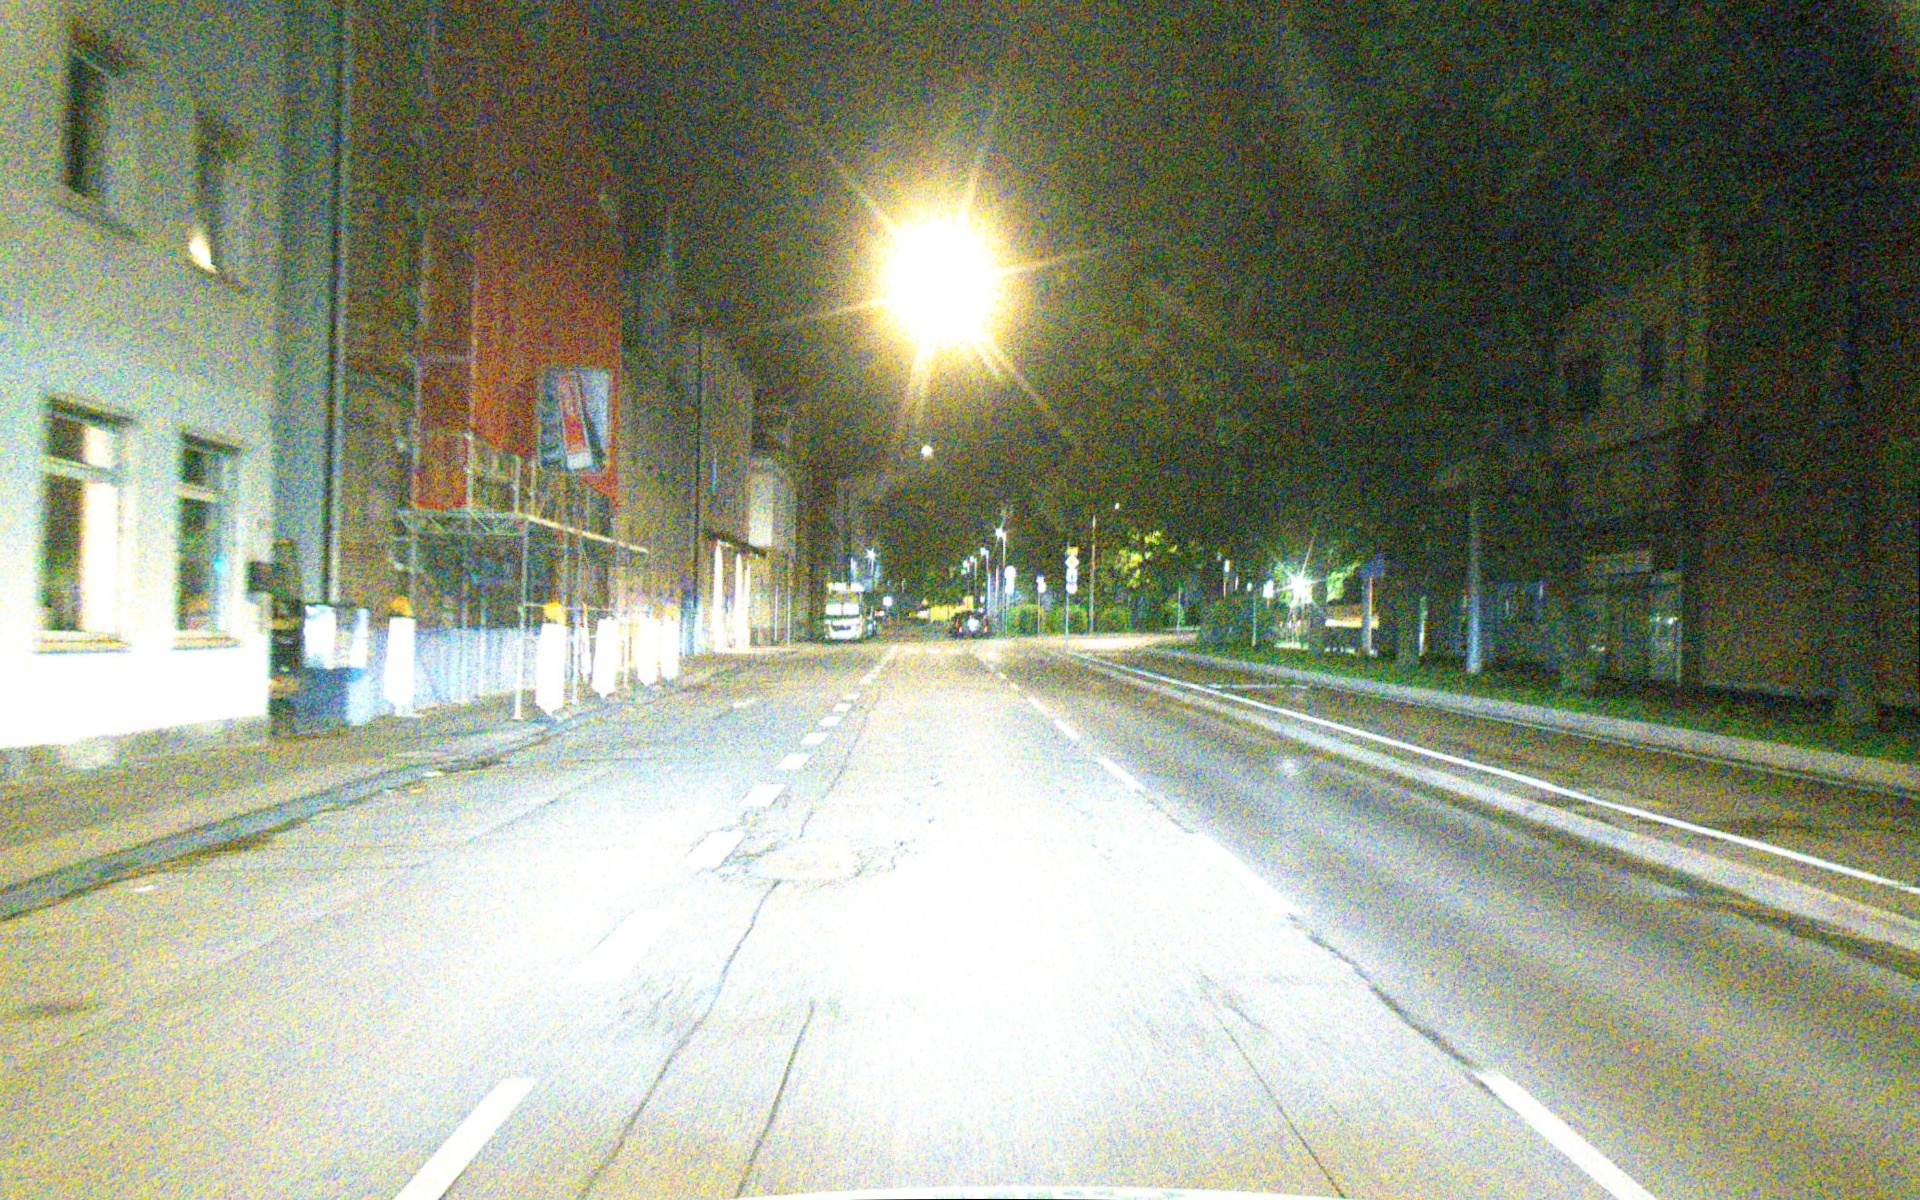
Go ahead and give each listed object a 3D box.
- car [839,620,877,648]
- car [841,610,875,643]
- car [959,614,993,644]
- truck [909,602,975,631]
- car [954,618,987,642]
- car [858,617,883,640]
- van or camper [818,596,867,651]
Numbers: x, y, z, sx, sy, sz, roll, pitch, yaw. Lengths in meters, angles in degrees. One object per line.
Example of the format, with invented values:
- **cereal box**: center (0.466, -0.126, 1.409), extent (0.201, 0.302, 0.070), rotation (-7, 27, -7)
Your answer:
- **car**: center (-5.817, 1.913, 93.909), extent (1.804, 1.534, 4.733), rotation (0, -1, -8)
- **car**: center (-6.371, 1.661, 103.893), extent (1.953, 1.989, 4.804), rotation (0, -1, -1)
- **car**: center (0.914, 1.653, 93.613), extent (1.845, 1.631, 4.107), rotation (-1, -1, 1)
- **truck**: center (-1.868, 1.741, 171.040), extent (6.643, 2.894, 1.998), rotation (1, -1, -4)
- **car**: center (0.600, 1.834, 98.988), extent (1.923, 1.407, 3.999), rotation (0, -1, -1)
- **car**: center (-6.282, 2.044, 116.491), extent (1.670, 1.536, 4.098), rotation (1, -1, -2)
- **van or camper**: center (-5.864, 1.180, 82.938), extent (2.115, 2.580, 6.224), rotation (-2, -1, -2)
